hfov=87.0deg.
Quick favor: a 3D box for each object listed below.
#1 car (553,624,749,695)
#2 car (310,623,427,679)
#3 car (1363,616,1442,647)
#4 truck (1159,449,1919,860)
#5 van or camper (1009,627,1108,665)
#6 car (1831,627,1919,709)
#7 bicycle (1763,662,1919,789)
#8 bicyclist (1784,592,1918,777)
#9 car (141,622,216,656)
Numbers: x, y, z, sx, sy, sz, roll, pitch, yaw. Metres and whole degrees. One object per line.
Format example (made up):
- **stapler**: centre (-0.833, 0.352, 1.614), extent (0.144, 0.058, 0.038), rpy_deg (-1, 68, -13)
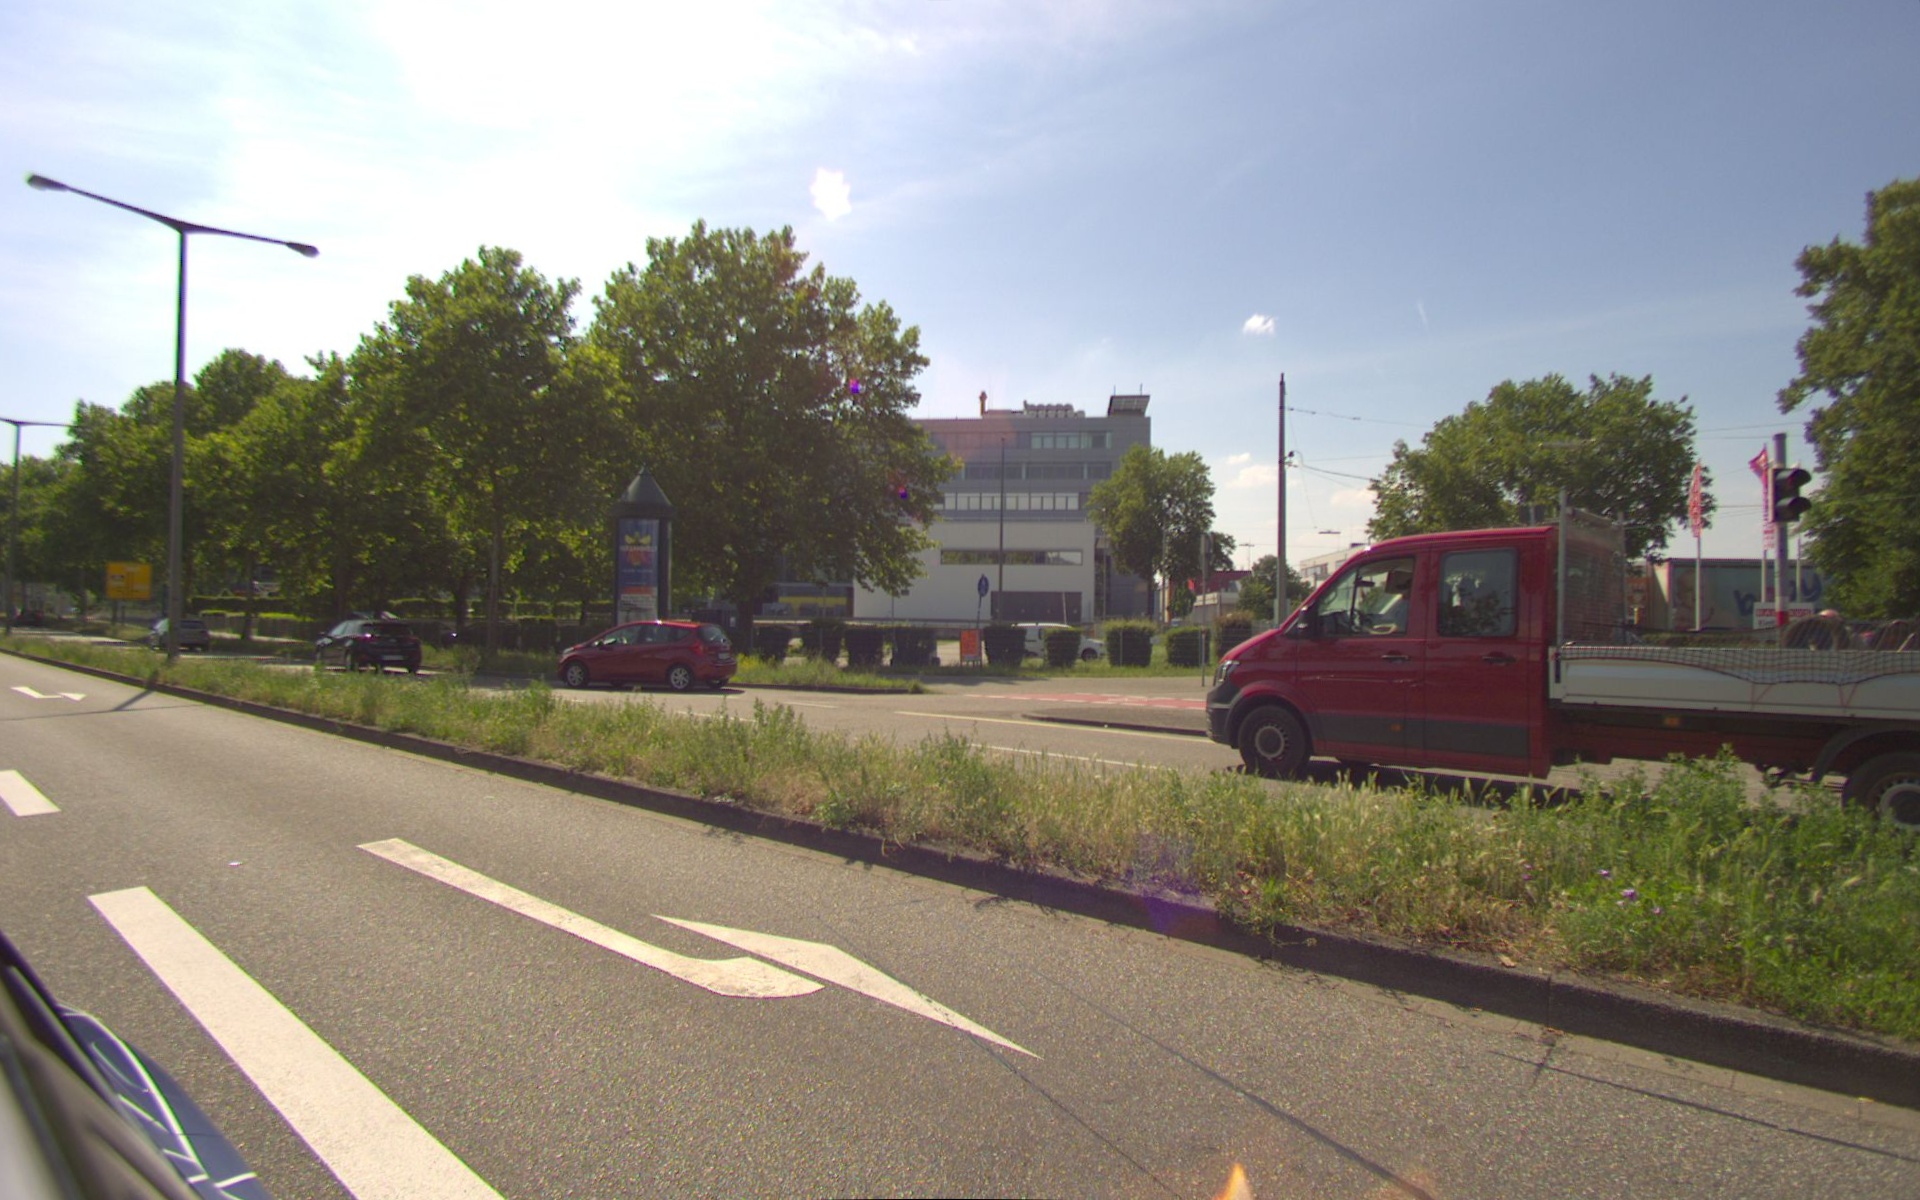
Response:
- **car**: centre (-6.769, 1.290, 22.292), extent (3.732, 1.445, 1.845), rpy_deg (-1, -3, 15)
- **car**: centre (-16.772, 1.396, 28.625), extent (3.895, 1.433, 1.819), rpy_deg (-1, -3, 44)
- **car**: centre (33.516, 2.351, 76.722), extent (4.970, 2.295, 2.152), rpy_deg (0, -2, 0)
- **truck**: centre (5.203, 0.376, 8.403), extent (2.114, 2.494, 7.136), rpy_deg (1, -2, -42)
- **van or camper**: centre (4.495, 2.104, 46.766), extent (4.453, 1.705, 1.998), rpy_deg (0, -1, 4)
- **car**: centre (17.997, 1.212, 17.960), extent (1.824, 1.460, 3.993), rpy_deg (0, -2, 5)
- **bicycle**: centre (9.048, 1.207, 10.228), extent (0.520, 1.072, 2.157), rpy_deg (0, -1, 11)
- **bicyclist**: centre (9.028, 0.830, 10.287), extent (0.698, 1.802, 0.765), rpy_deg (0, -1, 12)
- **car**: centre (-35.193, 1.755, 45.542), extent (4.219, 1.433, 1.820), rpy_deg (-1, -4, 41)
